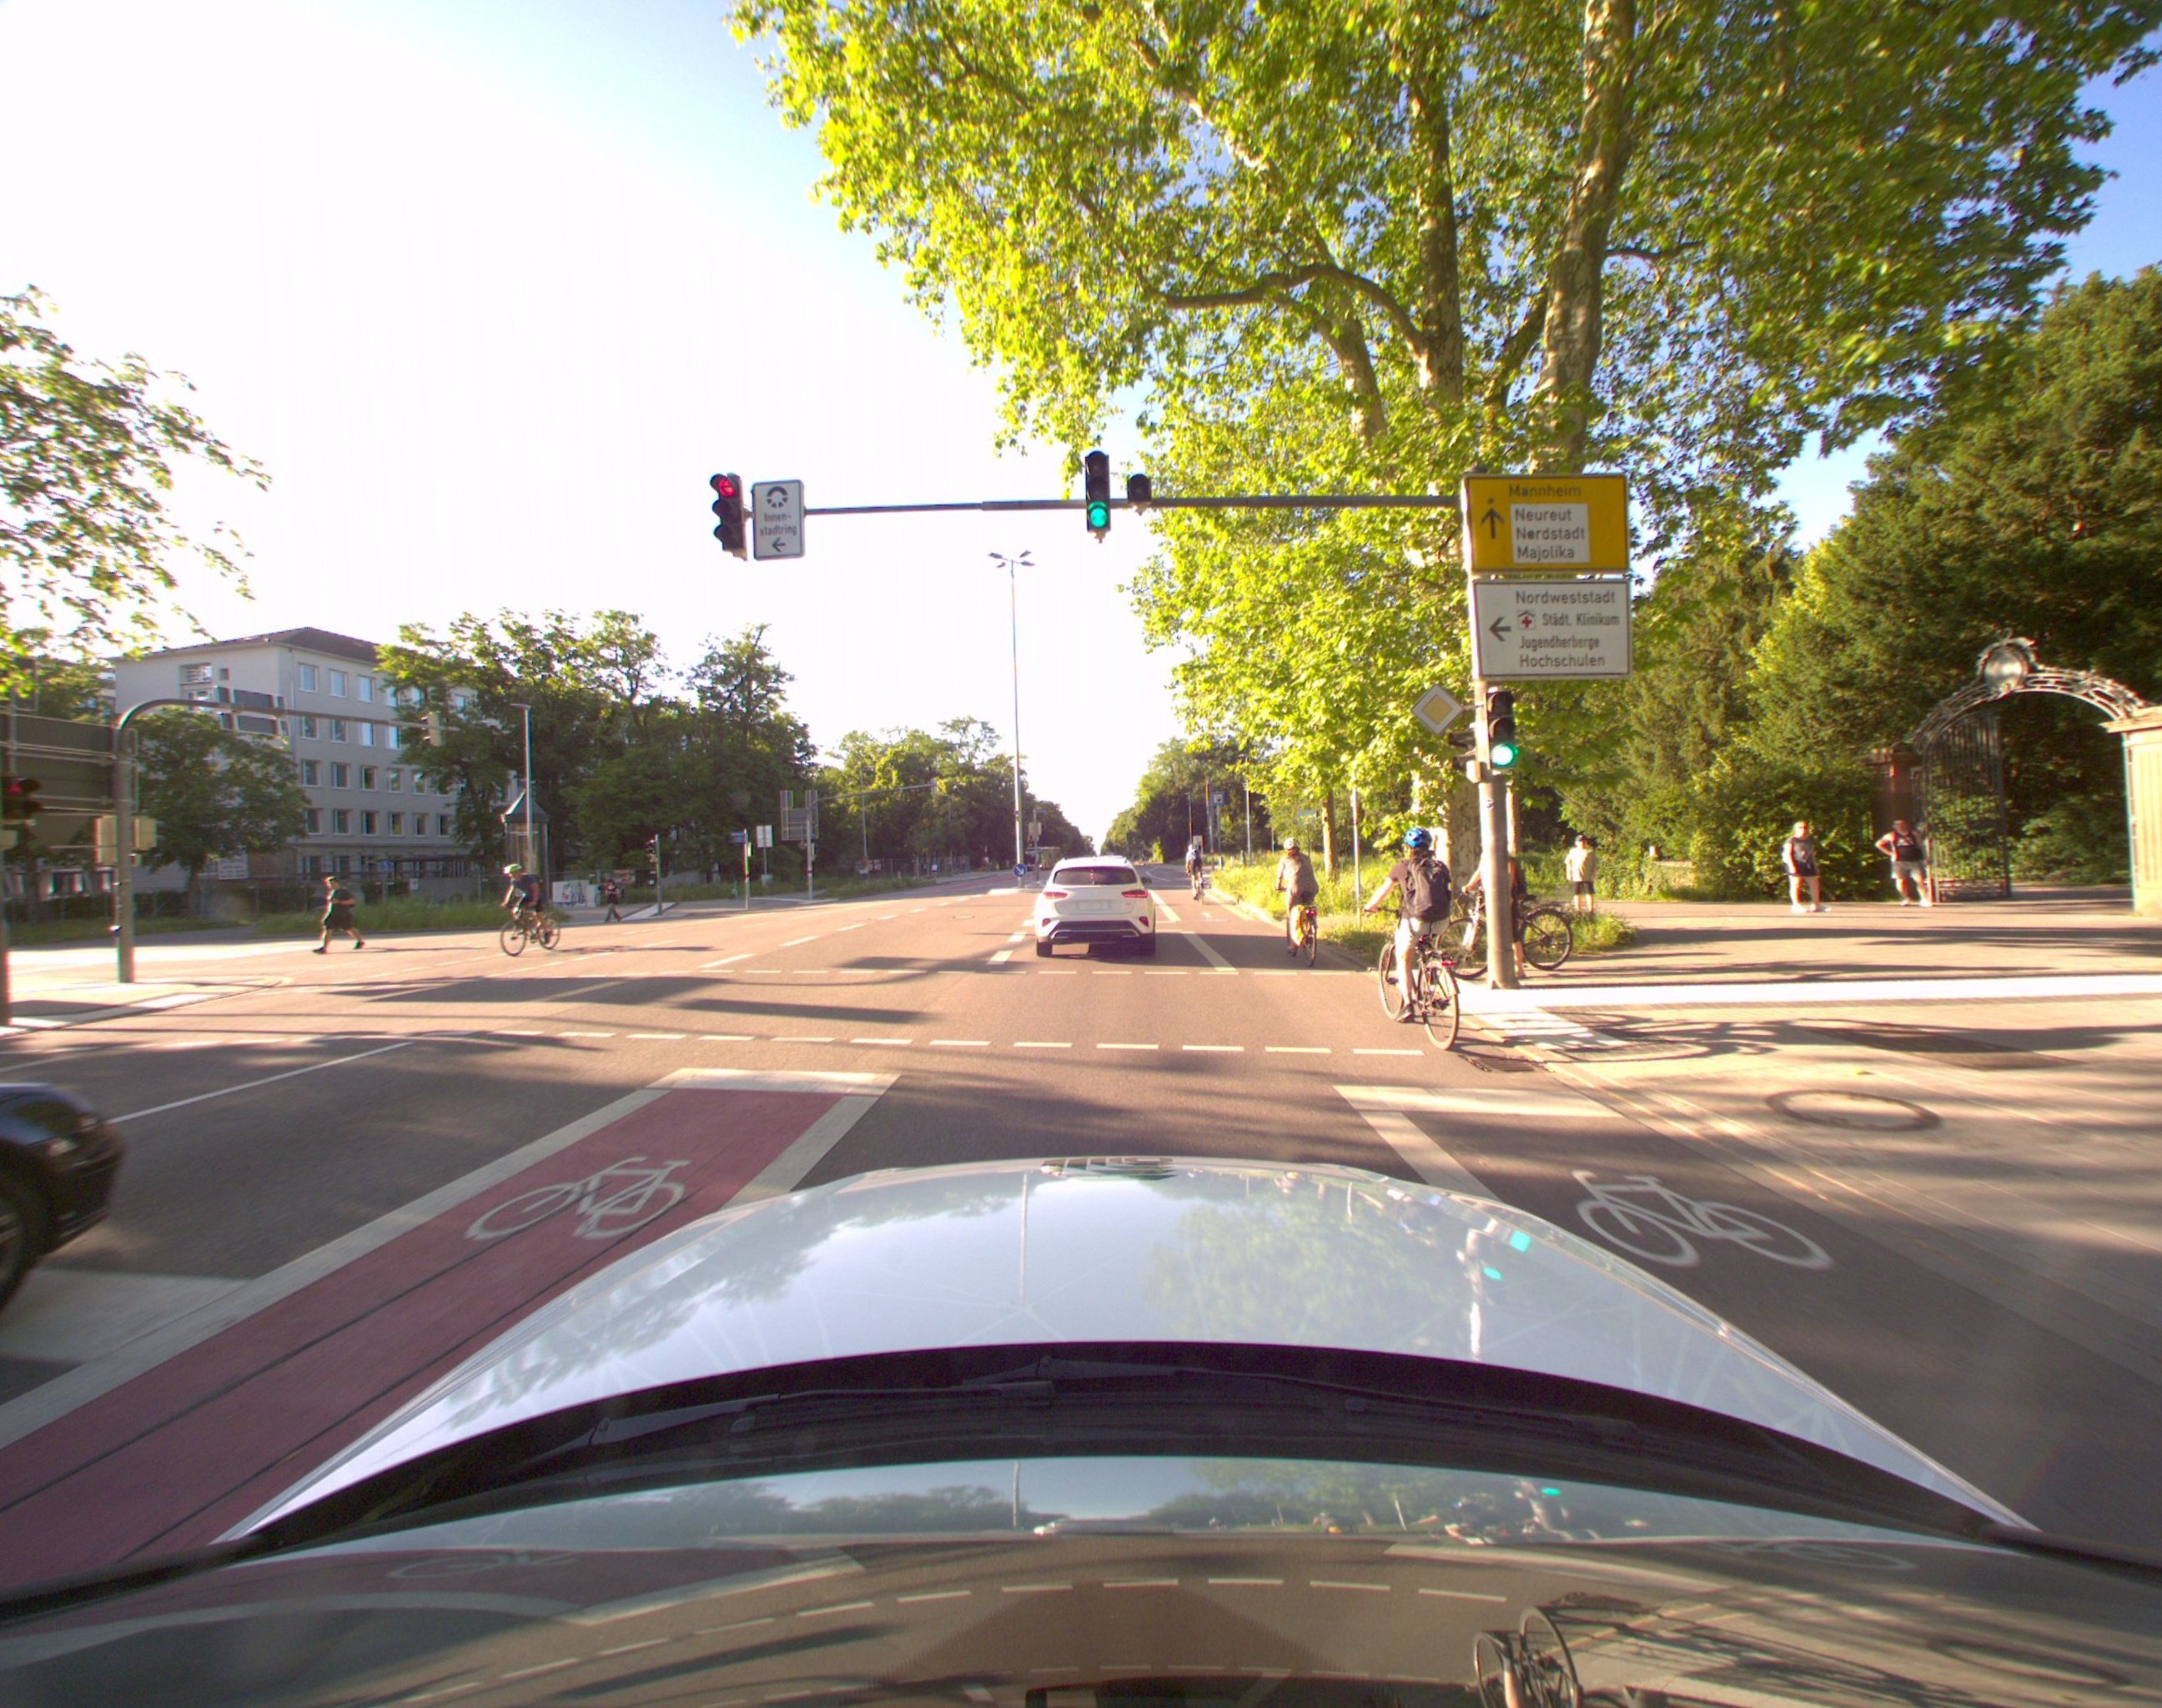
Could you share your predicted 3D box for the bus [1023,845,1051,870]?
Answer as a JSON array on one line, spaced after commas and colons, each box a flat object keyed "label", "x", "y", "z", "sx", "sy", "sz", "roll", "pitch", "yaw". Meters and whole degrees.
[{"label": "bus", "x": -6.108, "y": 0.507, "z": 114.830, "sx": 2.828, "sy": 3.196, "sz": 8.608, "roll": -3, "pitch": 0, "yaw": 4}]

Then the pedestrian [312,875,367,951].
[{"label": "pedestrian", "x": -18.571, "y": 1.471, "z": 20.415, "sx": 0.685, "sy": 1.816, "sz": 0.682, "roll": -3, "pitch": 0, "yaw": 11}]

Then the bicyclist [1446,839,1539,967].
[{"label": "bicyclist", "x": 4.903, "y": 0.565, "z": 9.745, "sx": 0.760, "sy": 1.447, "sz": 0.697, "roll": -3, "pitch": 0, "yaw": 9}]

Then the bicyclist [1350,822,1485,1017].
[{"label": "bicyclist", "x": 2.801, "y": 0.513, "z": 6.858, "sx": 0.691, "sy": 1.501, "sz": 0.892, "roll": -3, "pitch": 0, "yaw": -1}]

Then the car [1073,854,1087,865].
[{"label": "car", "x": -0.102, "y": 0.774, "z": 122.315, "sx": 1.703, "sy": 1.421, "sz": 4.559, "roll": -2, "pitch": 1, "yaw": 4}]

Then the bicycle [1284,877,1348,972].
[{"label": "bicycle", "x": 3.165, "y": 0.906, "z": 11.123, "sx": 0.688, "sy": 1.095, "sz": 2.144, "roll": -3, "pitch": 0, "yaw": 13}]

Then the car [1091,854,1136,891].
[{"label": "car", "x": 1.441, "y": 0.745, "z": 34.867, "sx": 1.668, "sy": 1.417, "sz": 3.579, "roll": -3, "pitch": 0, "yaw": 5}]

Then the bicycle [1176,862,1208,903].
[{"label": "bicycle", "x": 3.268, "y": 0.813, "z": 24.025, "sx": 0.886, "sy": 1.095, "sz": 2.140, "roll": -1, "pitch": 0, "yaw": 7}]

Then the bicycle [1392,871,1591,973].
[{"label": "bicycle", "x": 4.854, "y": 0.798, "z": 9.745, "sx": 1.973, "sy": 1.095, "sz": 0.697, "roll": -3, "pitch": 0, "yaw": 8}]

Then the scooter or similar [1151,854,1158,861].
[{"label": "scooter or similar", "x": 14.484, "y": 0.749, "z": 160.079, "sx": 1.550, "sy": 1.250, "sz": 0.528, "roll": -2, "pitch": -1, "yaw": -42}]

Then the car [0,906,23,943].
[{"label": "car", "x": -49.527, "y": 3.212, "z": 35.684, "sx": 4.219, "sy": 1.539, "sz": 2.075, "roll": -3, "pitch": 0, "yaw": 10}]

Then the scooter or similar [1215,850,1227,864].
[{"label": "scooter or similar", "x": 13.122, "y": 0.317, "z": 76.175, "sx": 0.715, "sy": 1.247, "sz": 1.336, "roll": -5, "pitch": -2, "yaw": 25}]

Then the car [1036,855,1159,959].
[{"label": "car", "x": 0.182, "y": 0.766, "z": 13.548, "sx": 1.757, "sy": 1.459, "sz": 3.815, "roll": 0, "pitch": 0, "yaw": -2}]

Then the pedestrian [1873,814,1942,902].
[{"label": "pedestrian", "x": 16.401, "y": 0.071, "z": 16.174, "sx": 0.685, "sy": 1.711, "sz": 0.682, "roll": 0, "pitch": 0, "yaw": 11}]

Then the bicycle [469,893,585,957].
[{"label": "bicycle", "x": -11.424, "y": 1.434, "z": 16.917, "sx": 0.692, "sy": 1.117, "sz": 2.193, "roll": -3, "pitch": 0, "yaw": 6}]

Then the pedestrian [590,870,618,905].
[{"label": "pedestrian", "x": -24.230, "y": 1.708, "z": 41.335, "sx": 0.972, "sy": 1.696, "sz": 0.644, "roll": -3, "pitch": -1, "yaw": 7}]

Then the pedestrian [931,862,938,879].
[{"label": "pedestrian", "x": -13.759, "y": 1.524, "z": 76.602, "sx": 0.450, "sy": 1.534, "sz": 0.571, "roll": -3, "pitch": 0, "yaw": -2}]

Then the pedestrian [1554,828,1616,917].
[{"label": "pedestrian", "x": 9.078, "y": 0.328, "z": 14.689, "sx": 0.685, "sy": 1.546, "sz": 0.682, "roll": -3, "pitch": 0, "yaw": 11}]

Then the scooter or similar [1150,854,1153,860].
[{"label": "scooter or similar", "x": 15.408, "y": 0.739, "z": 177.923, "sx": 0.531, "sy": 1.250, "sz": 1.542, "roll": -2, "pitch": 0, "yaw": 2}]

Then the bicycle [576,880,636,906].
[{"label": "bicycle", "x": -24.377, "y": 1.996, "z": 41.807, "sx": 2.557, "sy": 1.136, "sz": 0.982, "roll": -3, "pitch": 0, "yaw": 6}]

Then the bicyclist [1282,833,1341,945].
[{"label": "bicyclist", "x": 3.193, "y": 0.473, "z": 11.350, "sx": 0.688, "sy": 1.490, "sz": 0.803, "roll": -3, "pitch": 0, "yaw": 13}]

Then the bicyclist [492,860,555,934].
[{"label": "bicyclist", "x": -11.476, "y": 0.871, "z": 16.771, "sx": 0.692, "sy": 1.466, "sz": 0.759, "roll": -3, "pitch": 0, "yaw": 6}]

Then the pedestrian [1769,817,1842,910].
[{"label": "pedestrian", "x": 13.160, "y": 0.167, "z": 14.808, "sx": 0.685, "sy": 1.633, "sz": 0.682, "roll": -3, "pitch": 0, "yaw": 11}]

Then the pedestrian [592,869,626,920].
[{"label": "pedestrian", "x": -17.353, "y": 1.479, "z": 29.946, "sx": 0.738, "sy": 1.816, "sz": 0.728, "roll": -3, "pitch": 0, "yaw": 11}]

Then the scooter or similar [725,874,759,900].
[{"label": "scooter or similar", "x": -18.154, "y": 1.751, "z": 43.632, "sx": 0.686, "sy": 1.294, "sz": 1.505, "roll": -3, "pitch": 0, "yaw": 32}]

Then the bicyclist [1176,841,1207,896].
[{"label": "bicyclist", "x": 3.232, "y": 0.410, "z": 23.874, "sx": 0.855, "sy": 1.567, "sz": 0.883, "roll": -1, "pitch": 0, "yaw": 7}]

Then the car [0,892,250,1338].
[{"label": "car", "x": -4.433, "y": 0.865, "z": 1.175, "sx": 1.711, "sy": 1.418, "sz": 4.529, "roll": -1, "pitch": 0, "yaw": 2}]
